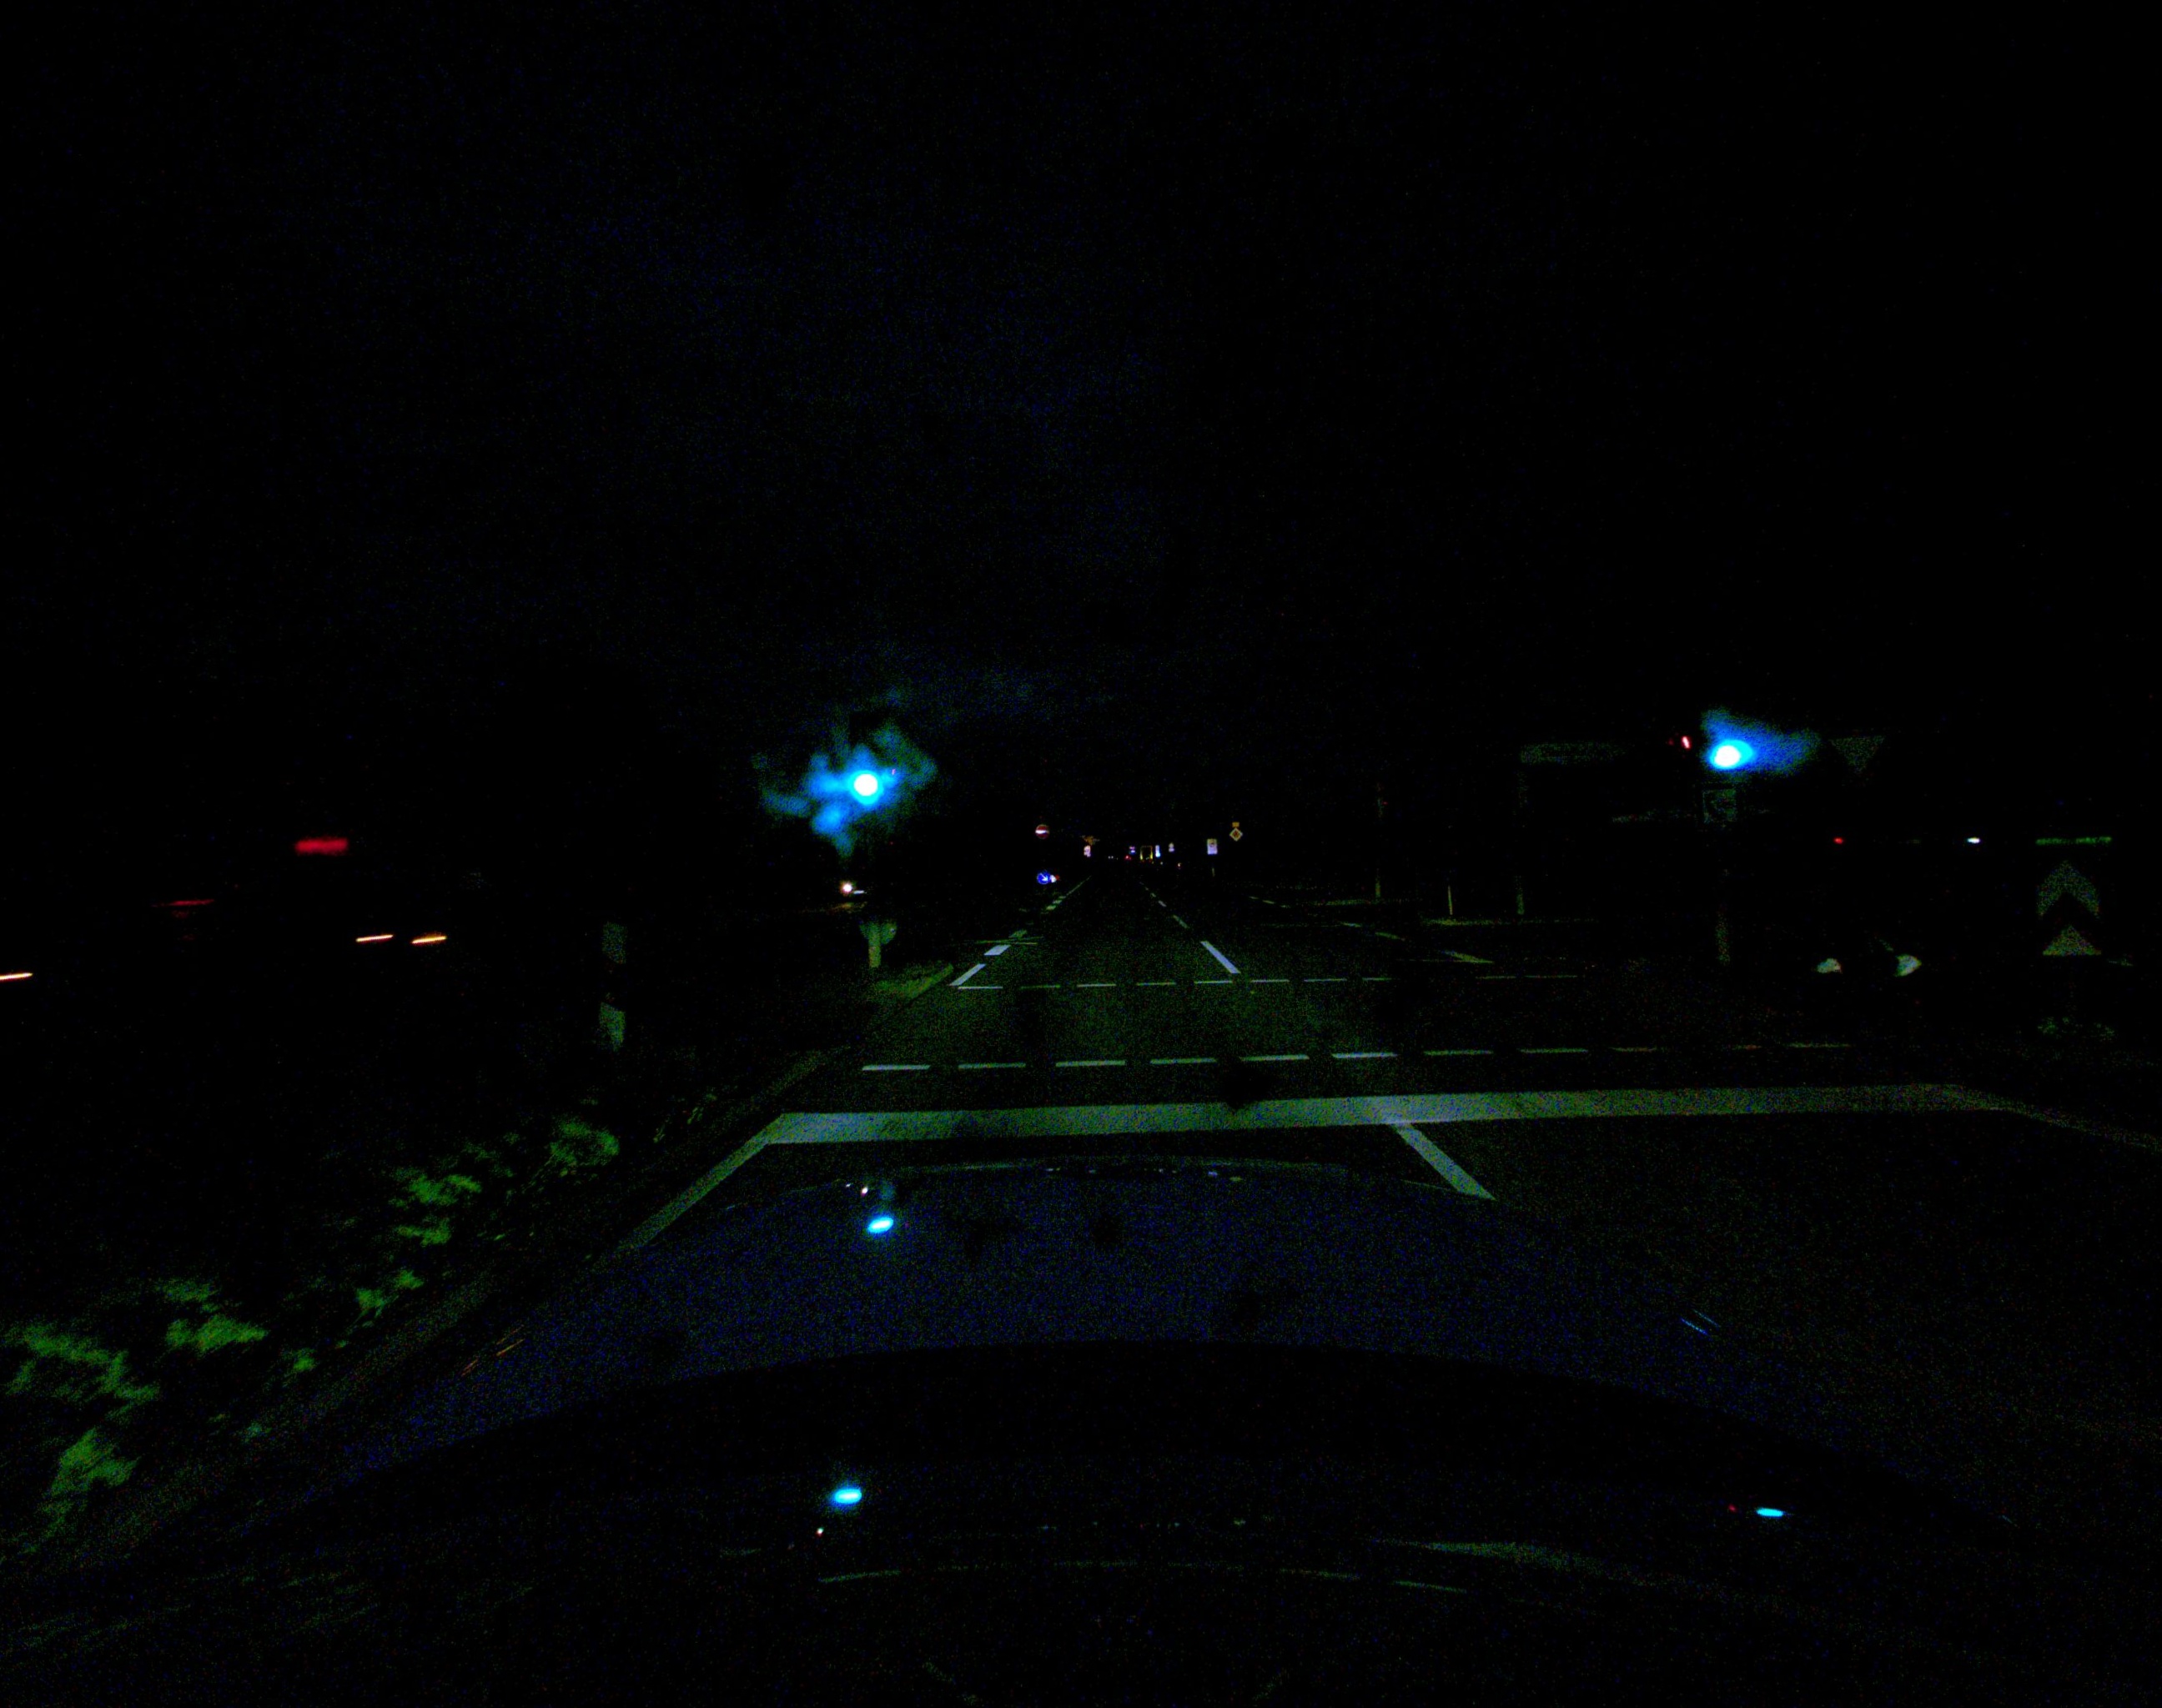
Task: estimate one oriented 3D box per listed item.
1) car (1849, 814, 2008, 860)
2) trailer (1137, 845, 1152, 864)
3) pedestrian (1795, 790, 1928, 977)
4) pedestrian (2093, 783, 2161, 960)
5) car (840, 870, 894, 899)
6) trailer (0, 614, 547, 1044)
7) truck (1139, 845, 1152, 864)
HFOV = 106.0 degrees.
[{"bbox_3d":[35.015,-0.672,33.808,2.012,1.664,4.422,-2,0,-45],"label":"car"},{"bbox_3d":[14.032,0.164,180.950,2.612,4.104,12.944,-2,0,2],"label":"trailer"},{"bbox_3d":[8.735,0.323,9.148,0.775,2.014,0.714,0,-1,3],"label":"pedestrian"},{"bbox_3d":[12.540,0.206,9.597,0.784,2.014,0.706,0,-1,-37],"label":"pedestrian"},{"bbox_3d":[-10.994,1.524,42.156,1.646,1.384,4.031,0,-1,1],"label":"car"},{"bbox_3d":[-10.867,-0.199,8.490,2.555,3.943,8.924,-3,0,21],"label":"trailer"},{"bbox_3d":[13.775,0.113,174.792,2.569,4.071,6.135,-1,0,3],"label":"truck"}]
